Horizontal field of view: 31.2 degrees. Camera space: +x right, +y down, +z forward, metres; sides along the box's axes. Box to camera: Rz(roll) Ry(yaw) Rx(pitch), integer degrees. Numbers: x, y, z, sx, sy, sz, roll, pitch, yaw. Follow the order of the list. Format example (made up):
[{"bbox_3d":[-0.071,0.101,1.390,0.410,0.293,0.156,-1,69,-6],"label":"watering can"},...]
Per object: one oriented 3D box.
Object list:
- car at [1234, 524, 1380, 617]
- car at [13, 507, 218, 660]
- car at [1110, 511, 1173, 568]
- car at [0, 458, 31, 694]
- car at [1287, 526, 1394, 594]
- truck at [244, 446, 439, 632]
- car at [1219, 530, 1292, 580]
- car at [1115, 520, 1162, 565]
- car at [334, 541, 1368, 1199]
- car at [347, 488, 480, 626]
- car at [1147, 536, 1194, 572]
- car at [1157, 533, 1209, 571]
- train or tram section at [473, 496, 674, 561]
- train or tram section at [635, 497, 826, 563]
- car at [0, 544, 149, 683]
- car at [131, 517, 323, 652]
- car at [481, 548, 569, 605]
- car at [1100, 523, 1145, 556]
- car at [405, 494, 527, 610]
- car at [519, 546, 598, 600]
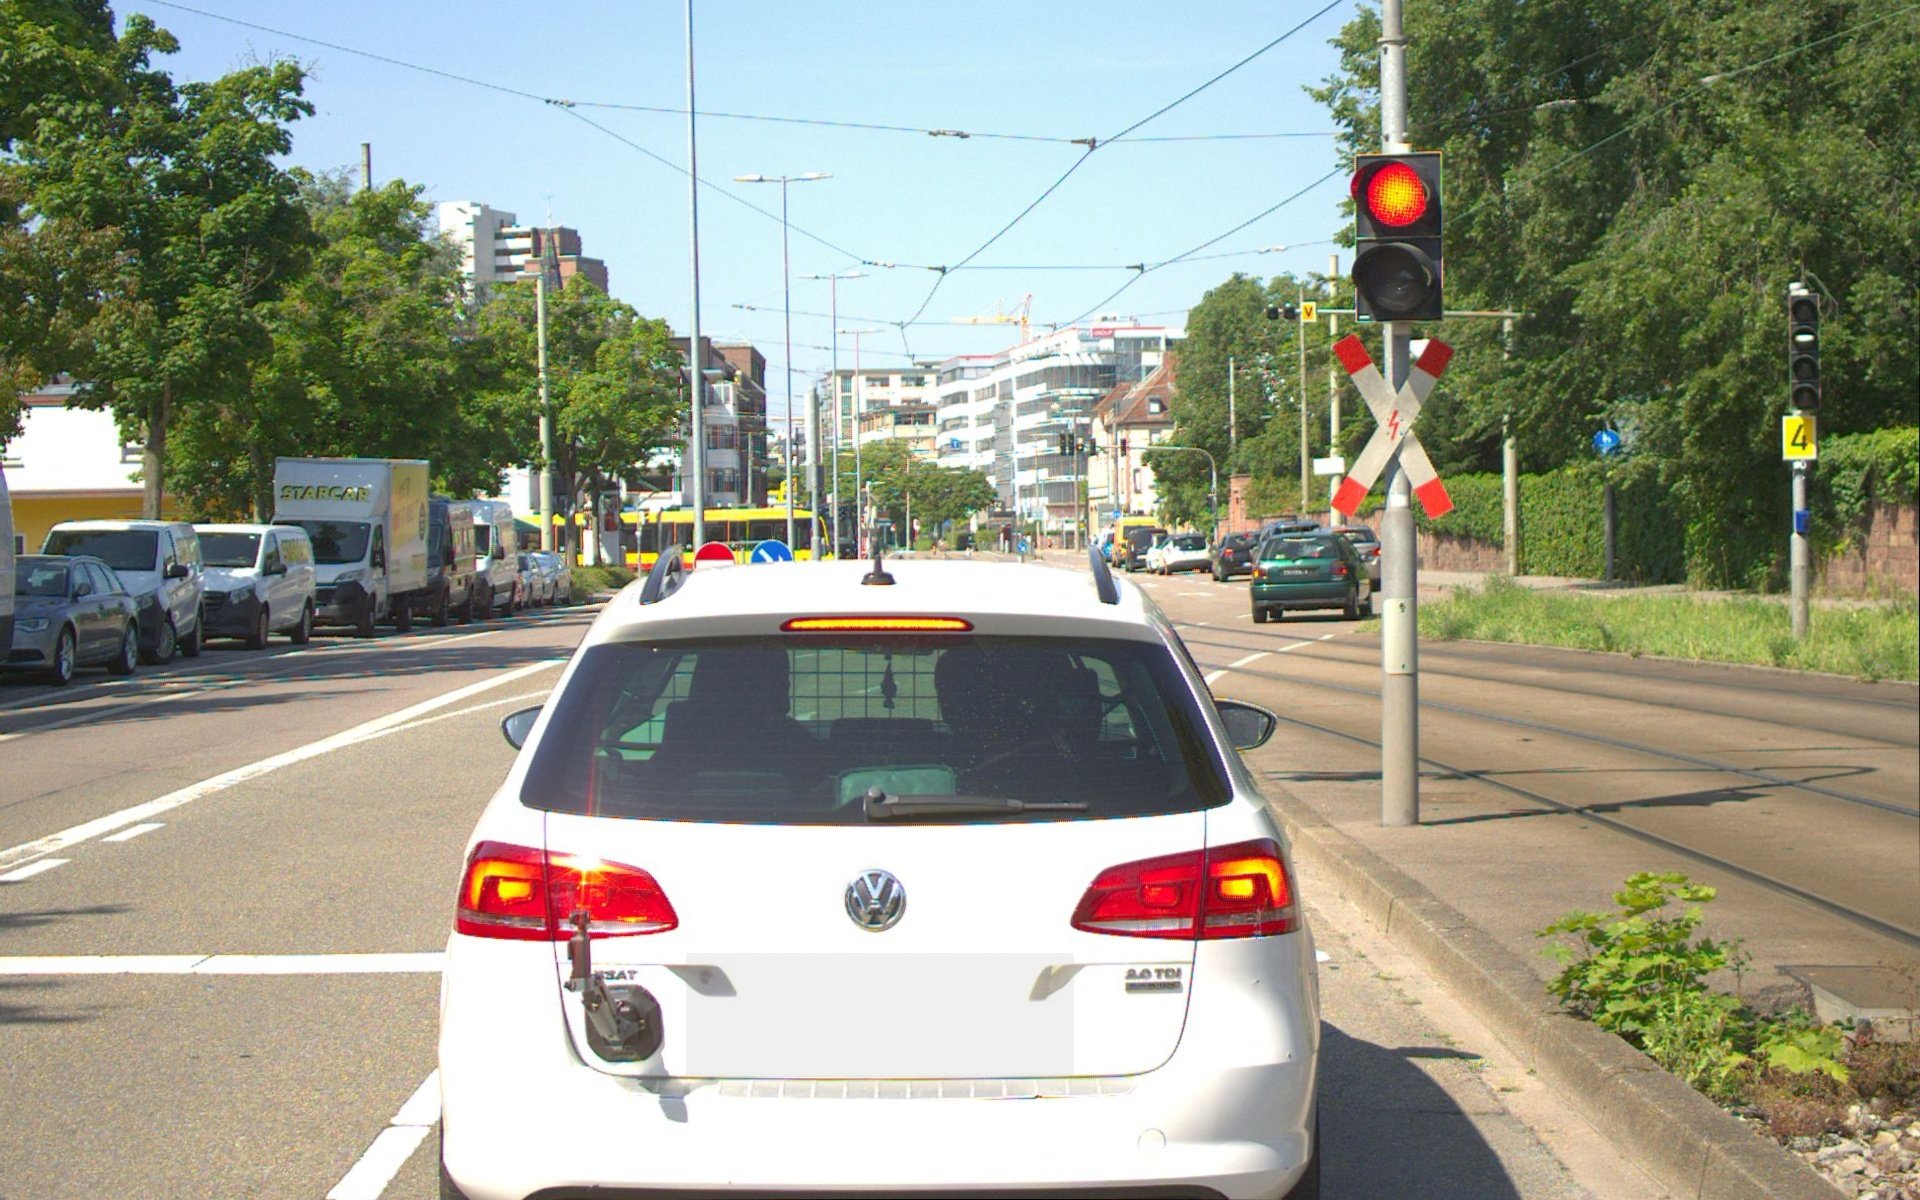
[{"bbox_3d":[5.467,-0.484,53.760,1.747,1.383,3.911,1,1,13],"label":"car"},{"bbox_3d":[-11.449,-0.267,46.927,1.843,1.930,5.195,-1,1,-4],"label":"car"},{"bbox_3d":[8.278,-2.744,157.395,2.463,2.490,5.910,1,0,-1],"label":"car"},{"bbox_3d":[-11.228,-0.222,34.105,2.059,2.492,6.307,2,1,2],"label":"car"},{"bbox_3d":[8.342,-0.909,75.735,1.861,1.412,4.325,1,1,0],"label":"car"},{"bbox_3d":[-11.072,-1.118,62.080,2.356,3.112,6.892,-1,1,-1],"label":"truck"},{"bbox_3d":[8.669,-1.338,101.157,1.746,1.403,3.913,1,1,0],"label":"car"},{"bbox_3d":[7.428,-2.370,142.965,1.691,1.806,3.454,1,0,-1],"label":"car"},{"bbox_3d":[-0.237,0.611,7.898,1.768,1.441,3.913,1,1,-1],"label":"car"},{"bbox_3d":[-11.068,-0.904,69.948,1.843,2.659,5.003,-1,1,0],"label":"car"},{"bbox_3d":[8.246,-1.793,134.903,1.581,1.341,3.454,1,0,-1],"label":"car"},{"bbox_3d":[8.083,-1.743,124.718,1.581,1.341,3.454,1,0,-1],"label":"car"},{"bbox_3d":[-20.322,-3.781,180.457,10.786,3.241,2.306,1,0,25],"label":"train or tram section"},{"bbox_3d":[-11.751,-3.573,174.874,11.264,3.241,2.303,1,1,40],"label":"train or tram section"},{"bbox_3d":[-10.948,0.133,40.393,1.843,1.511,4.197,-1,1,-1],"label":"car"},{"bbox_3d":[-11.337,-0.290,53.513,1.843,1.954,5.134,-1,1,0],"label":"car"},{"bbox_3d":[-11.663,-0.638,92.408,1.843,1.428,4.038,-1,1,-1],"label":"car"},{"bbox_3d":[8.055,-2.984,170.498,1.993,1.590,4.000,1,0,0],"label":"car"},{"bbox_3d":[-11.092,-1.103,77.546,1.843,2.486,5.857,-1,1,0],"label":"car"},{"bbox_3d":[-11.463,-0.783,98.294,1.780,1.428,4.038,-1,1,-1],"label":"car"}]
